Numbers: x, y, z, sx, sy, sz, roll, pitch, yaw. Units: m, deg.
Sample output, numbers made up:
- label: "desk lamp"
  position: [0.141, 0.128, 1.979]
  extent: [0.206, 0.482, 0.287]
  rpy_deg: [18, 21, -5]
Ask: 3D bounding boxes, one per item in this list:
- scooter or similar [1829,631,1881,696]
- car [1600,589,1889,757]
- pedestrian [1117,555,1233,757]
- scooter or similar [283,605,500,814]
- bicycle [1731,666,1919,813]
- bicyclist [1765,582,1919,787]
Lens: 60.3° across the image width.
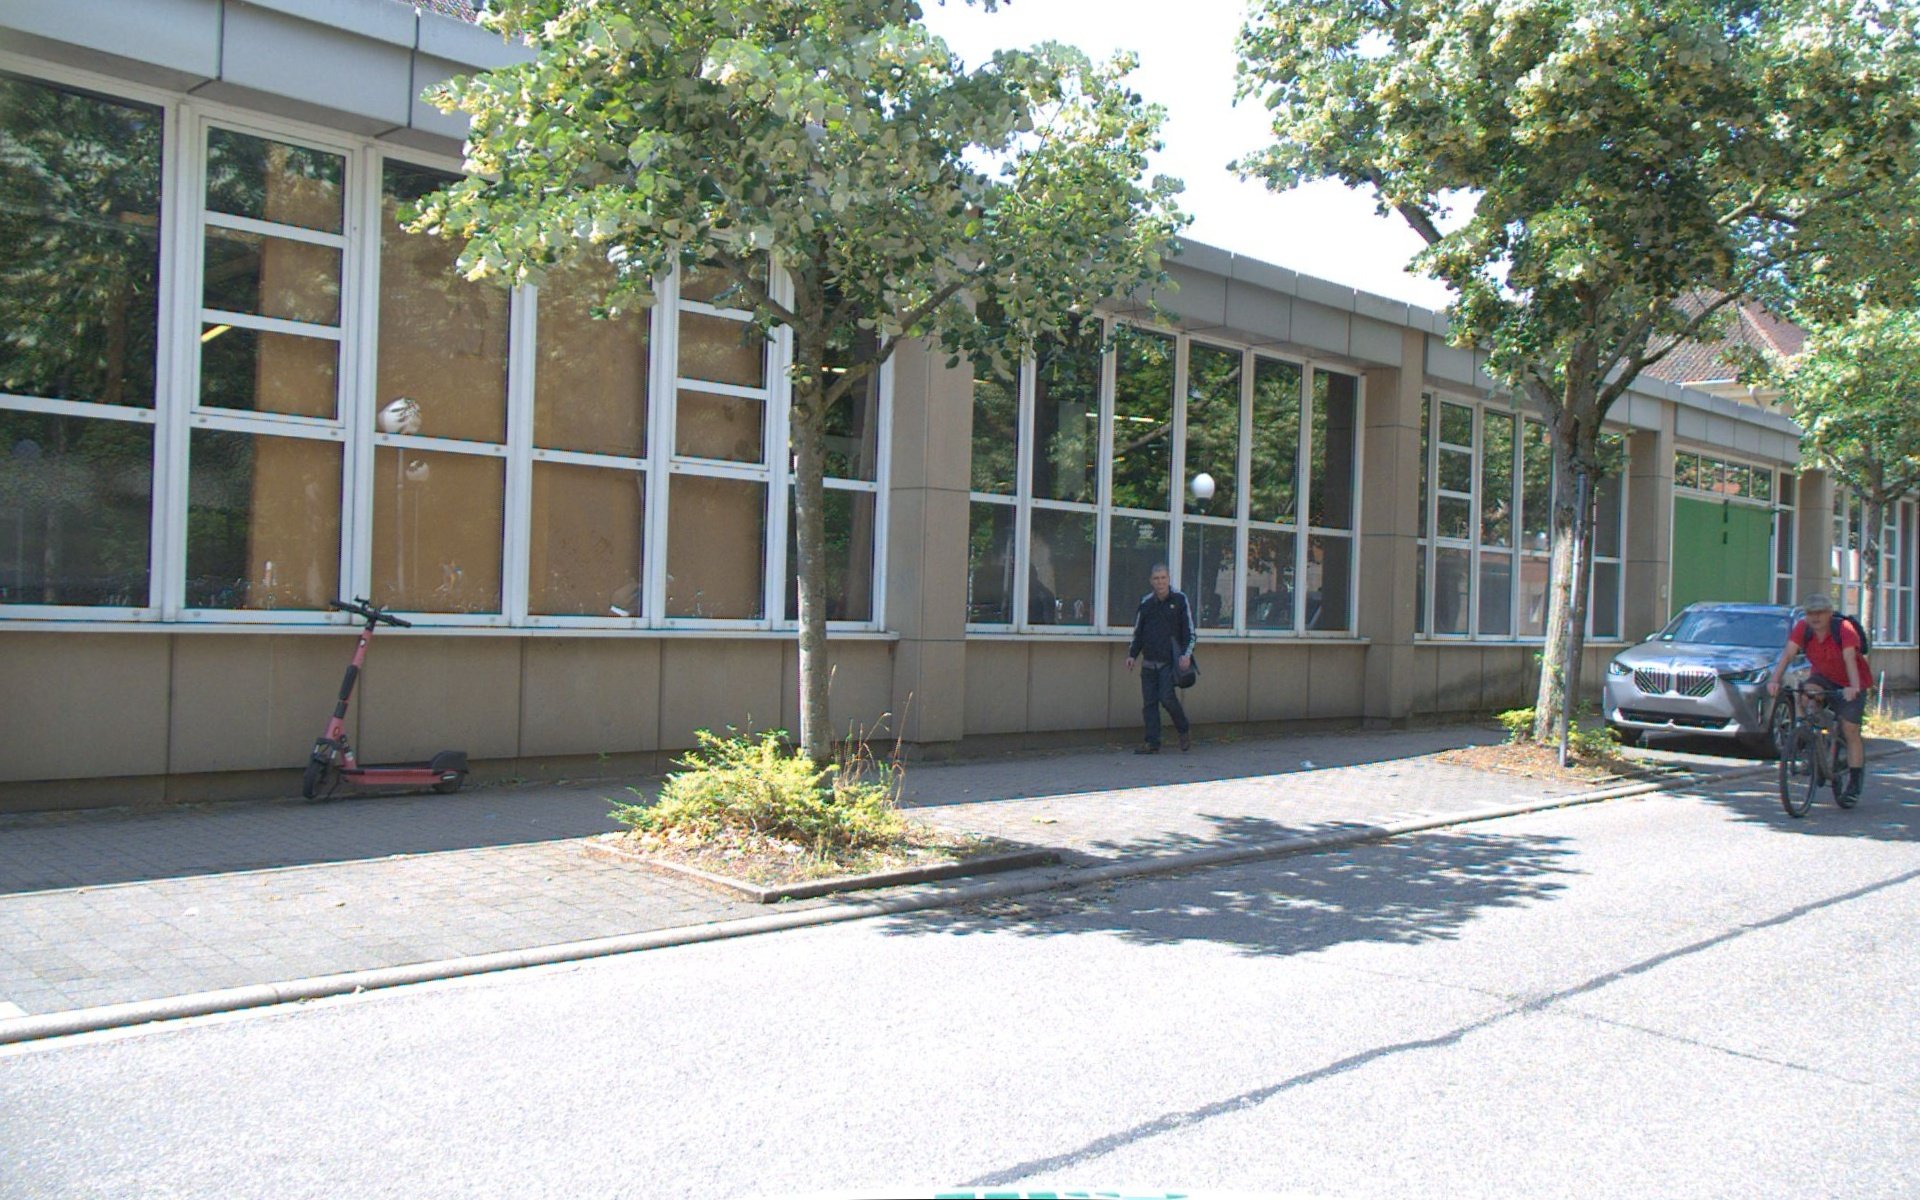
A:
- label: "scooter or similar"
  position: [16.928, 1.195, 31.274]
  extent: [1.206, 1.189, 0.499]
  rpy_deg: [2, 1, -45]
- label: "car"
  position: [9.349, 0.819, 19.523]
  extent: [1.796, 1.660, 4.489]
  rpy_deg: [4, 1, 42]
- label: "pedestrian"
  position: [2.014, 0.506, 15.516]
  extent: [0.665, 1.818, 0.778]
  rpy_deg: [1, 2, -44]
- label: "scooter or similar"
  position: [-3.581, 0.663, 10.473]
  extent: [0.377, 1.228, 1.237]
  rpy_deg: [4, 2, 44]
- label: "bicycle"
  position: [7.099, 1.137, 13.358]
  extent: [1.912, 1.060, 0.807]
  rpy_deg: [6, -3, -39]
- label: "bicyclist"
  position: [7.123, 0.667, 13.342]
  extent: [0.950, 1.570, 0.826]
  rpy_deg: [2, -2, -39]
